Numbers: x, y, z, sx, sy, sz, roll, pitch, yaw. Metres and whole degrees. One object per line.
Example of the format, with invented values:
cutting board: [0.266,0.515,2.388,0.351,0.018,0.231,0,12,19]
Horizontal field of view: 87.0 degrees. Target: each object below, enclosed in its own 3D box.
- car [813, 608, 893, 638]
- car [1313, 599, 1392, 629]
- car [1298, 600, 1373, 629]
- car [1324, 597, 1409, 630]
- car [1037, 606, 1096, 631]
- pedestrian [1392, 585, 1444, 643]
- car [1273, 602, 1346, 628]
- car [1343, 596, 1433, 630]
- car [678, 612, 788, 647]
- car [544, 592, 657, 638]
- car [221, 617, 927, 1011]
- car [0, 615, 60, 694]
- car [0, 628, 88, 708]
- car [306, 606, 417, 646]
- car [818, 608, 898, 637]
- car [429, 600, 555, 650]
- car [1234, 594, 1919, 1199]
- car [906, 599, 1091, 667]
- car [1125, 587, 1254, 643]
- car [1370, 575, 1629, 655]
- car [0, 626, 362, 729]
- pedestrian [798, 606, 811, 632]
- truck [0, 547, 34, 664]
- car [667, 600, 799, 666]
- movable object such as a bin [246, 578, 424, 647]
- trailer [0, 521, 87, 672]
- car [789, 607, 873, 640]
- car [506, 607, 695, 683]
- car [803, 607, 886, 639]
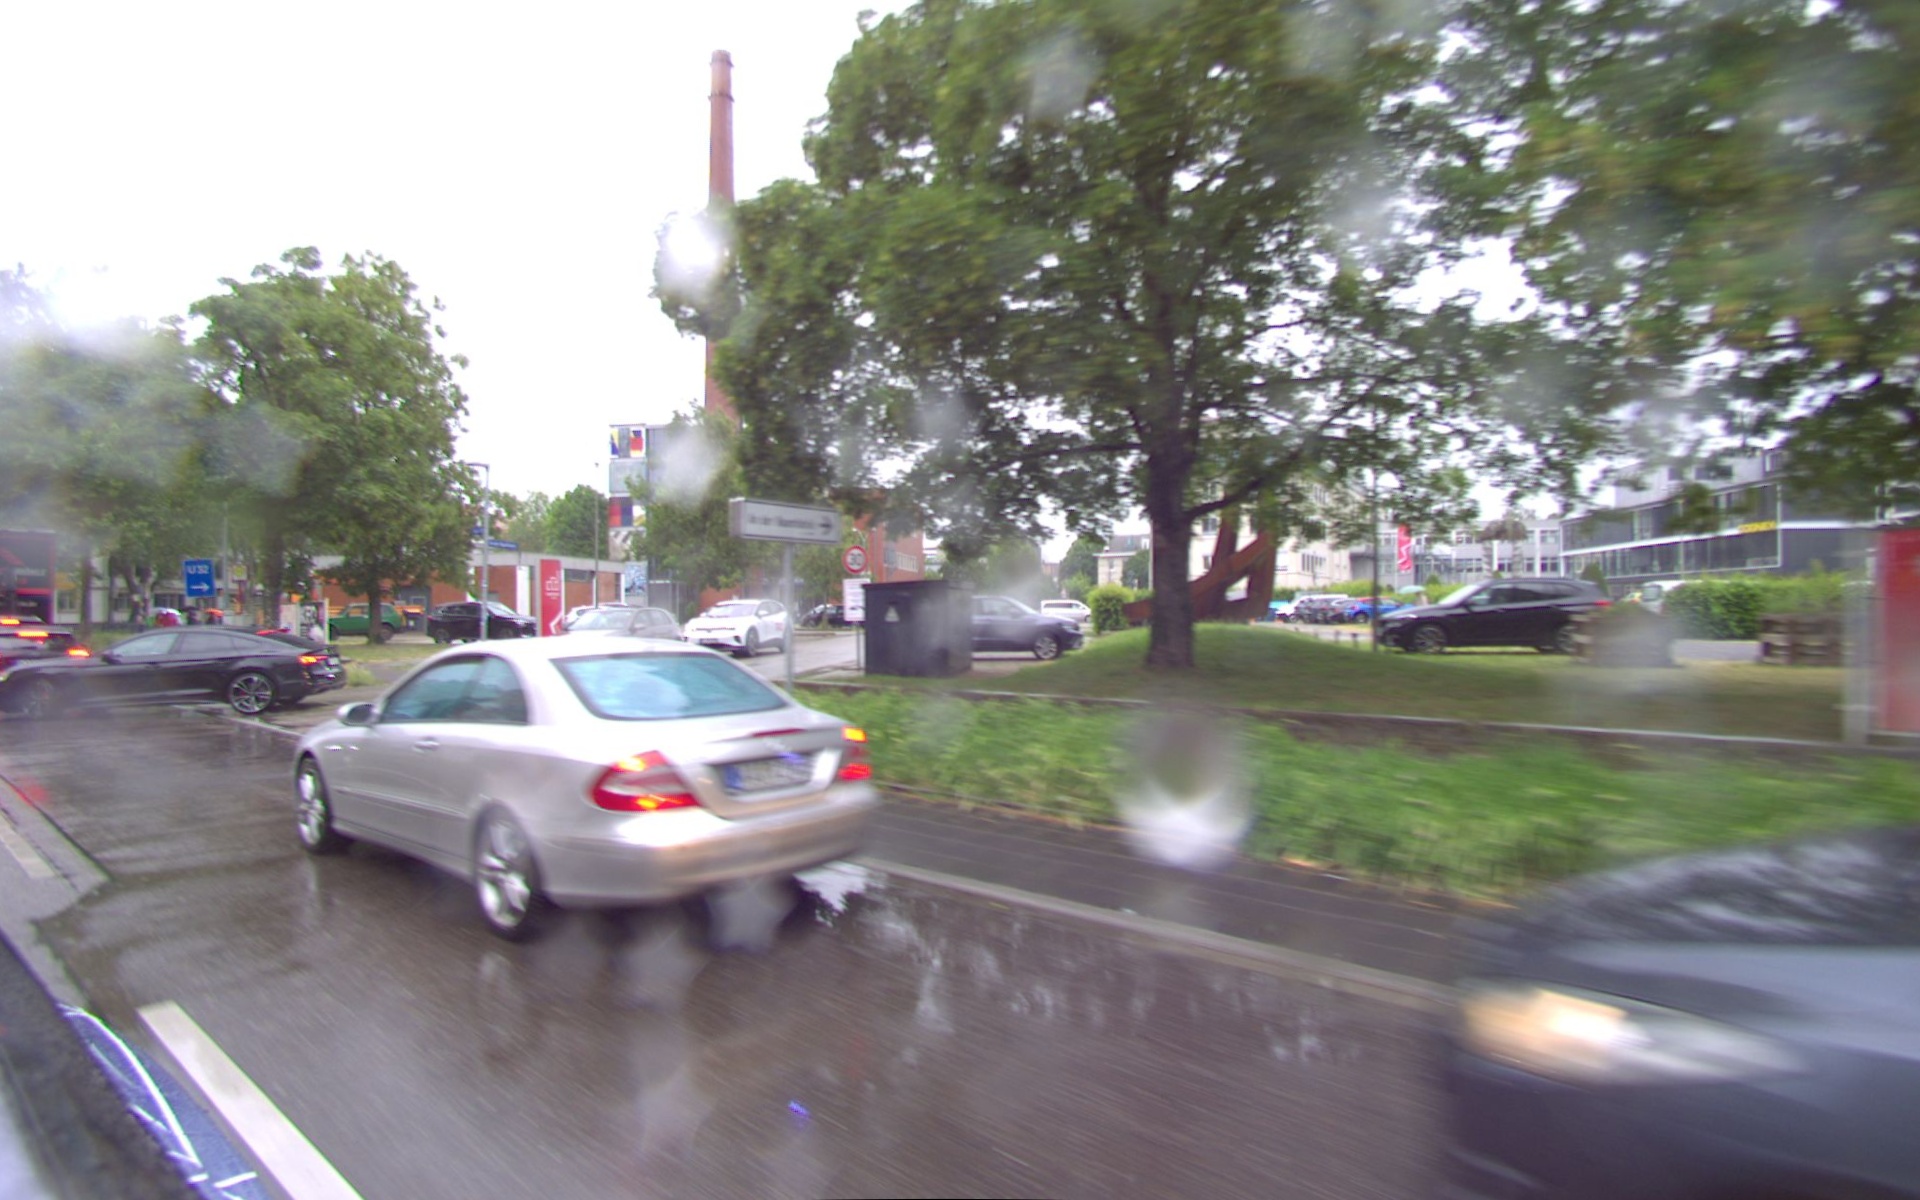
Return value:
car: [-6.544,1.411,62.182,4.531,1.750,1.996,-1,-1,7]
car: [23.321,0.841,60.320,3.954,1.627,1.995,-2,-2,9]
car: [23.299,0.911,62.940,3.954,1.627,1.995,-2,-2,9]
car: [22.480,0.757,56.089,3.954,1.627,1.995,-2,-2,9]
car: [9.025,1.582,85.806,4.892,2.029,1.996,-1,-1,7]
pedestrian: [15.152,0.464,33.496,1.472,1.854,1.061,-1,-1,22]
car: [24.317,1.078,70.554,4.387,1.627,1.998,-2,-2,3]
car: [22.660,0.689,53.708,3.954,1.627,1.995,-2,-2,9]
car: [-9.567,1.247,42.712,4.261,1.389,1.618,-1,-1,10]
car: [-16.872,0.731,47.658,4.620,2.029,1.996,-1,-1,7]
car: [-2.579,0.835,5.970,4.826,1.414,1.757,-1,0,40]
car: [-22.767,1.231,23.827,4.802,1.631,1.847,1,0,42]
car: [-17.892,1.235,19.088,4.337,1.371,1.708,-2,-2,43]
car: [-26.368,1.130,44.646,3.938,1.613,2.003,-1,-2,-41]
car: [-6.521,1.436,64.929,4.844,1.736,1.996,-1,-1,7]
car: [-17.786,0.964,38.518,3.956,1.804,1.994,-1,-1,10]
car: [2.712,0.686,1.213,4.263,1.431,1.760,-2,-2,41]
car: [0.974,0.805,24.649,4.255,1.521,1.783,-2,-2,12]
car: [9.265,0.617,41.257,4.918,2.167,1.994,-1,-1,10]
car: [11.141,0.333,21.268,4.392,1.538,1.990,-1,-1,15]
car: [-12.702,1.185,16.393,4.844,1.465,2.092,0,-1,-17]
pedestrian: [-10.399,1.286,67.795,0.670,1.697,0.778,-1,-1,11]
truck: [-36.854,0.263,37.218,6.970,4.109,3.414,-2,-1,41]
car: [-6.346,0.891,28.913,2.024,1.719,4.632,-1,-1,11]
movable object such as a bin: [-28.621,0.551,46.497,6.669,2.953,2.780,-1,-1,-39]
trailer: [-31.633,0.084,32.563,15.044,4.080,3.406,-2,-2,42]
car: [-7.314,1.336,57.617,4.369,1.750,1.996,-1,-1,7]
car: [-7.678,0.908,22.125,1.991,1.405,4.326,-1,1,10]
car: [-6.831,1.364,60.022,4.531,1.750,1.996,-1,-1,7]
